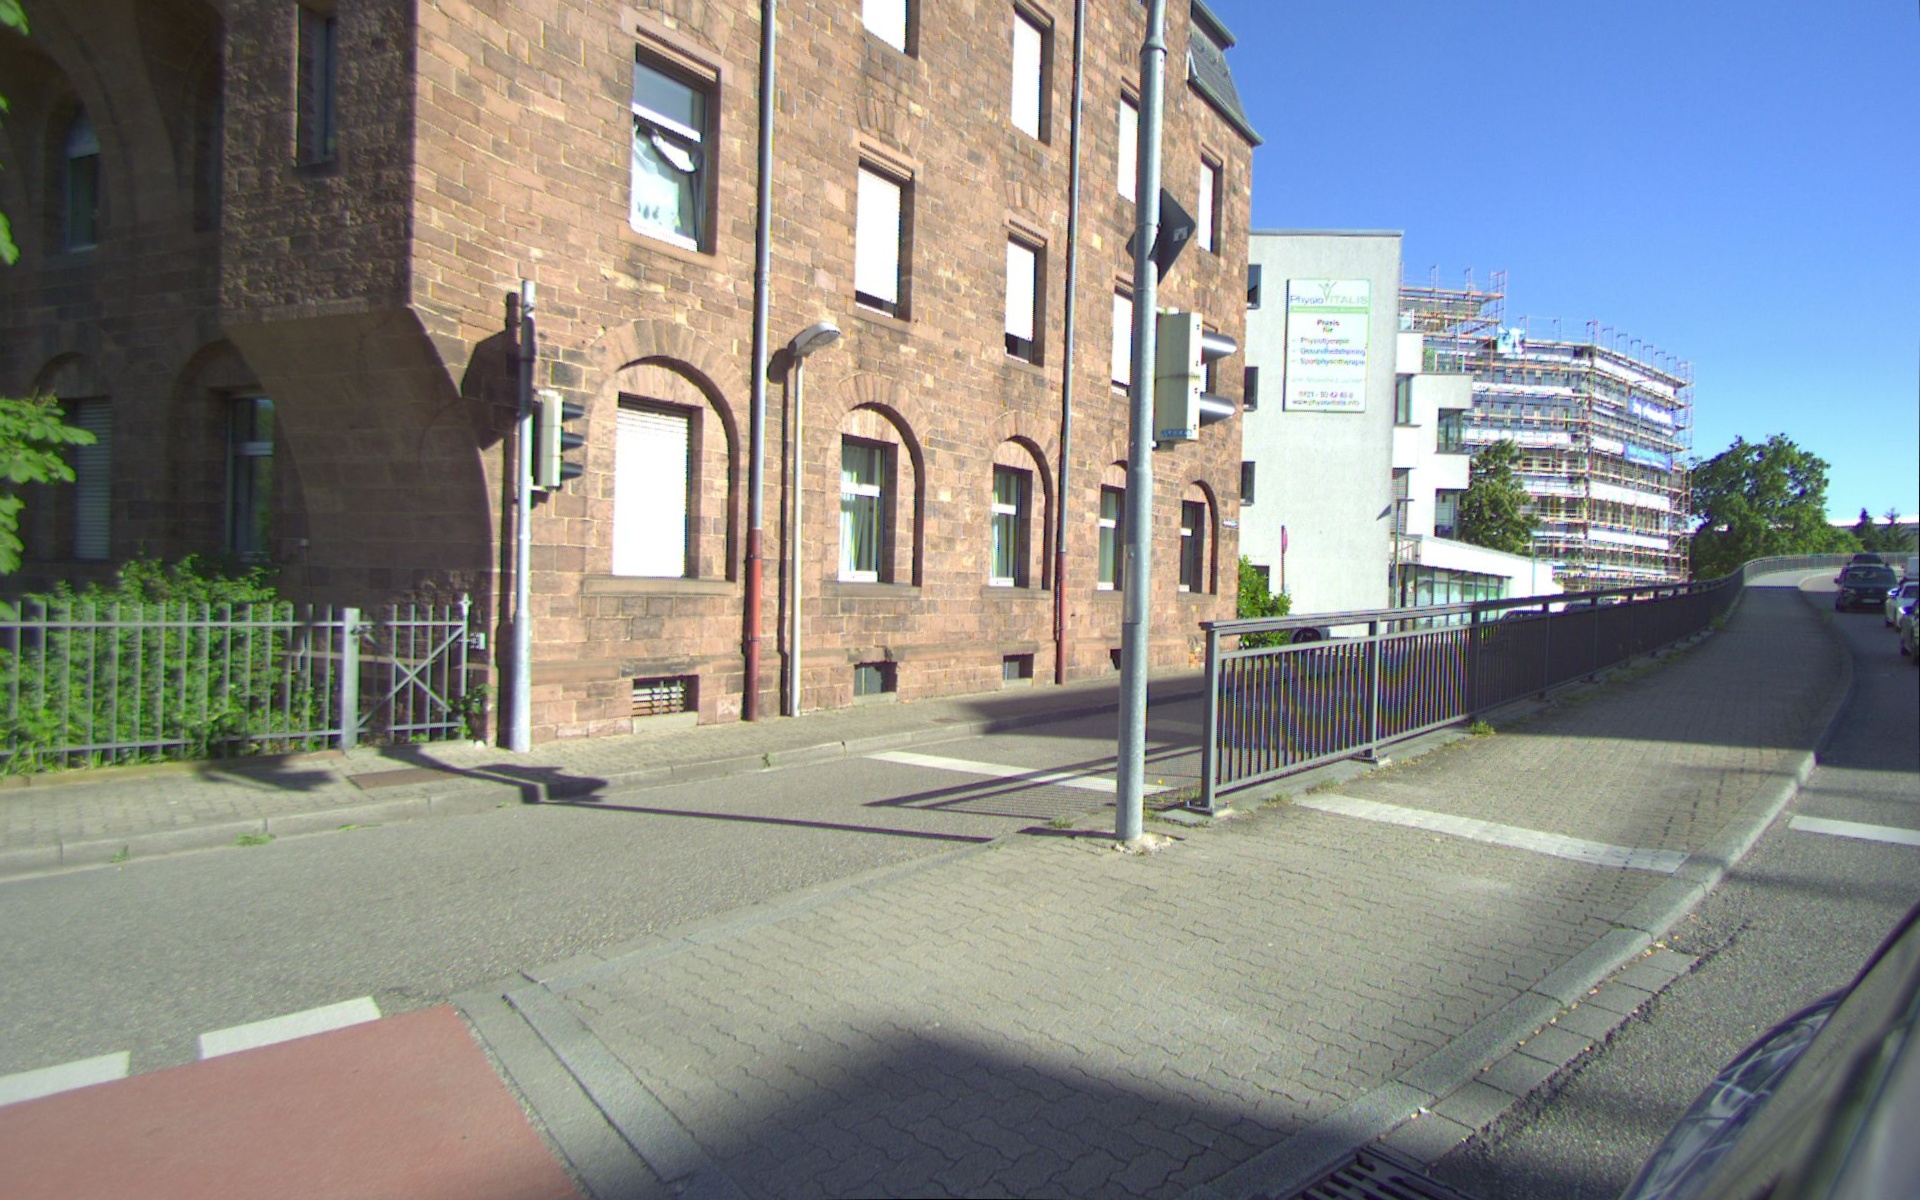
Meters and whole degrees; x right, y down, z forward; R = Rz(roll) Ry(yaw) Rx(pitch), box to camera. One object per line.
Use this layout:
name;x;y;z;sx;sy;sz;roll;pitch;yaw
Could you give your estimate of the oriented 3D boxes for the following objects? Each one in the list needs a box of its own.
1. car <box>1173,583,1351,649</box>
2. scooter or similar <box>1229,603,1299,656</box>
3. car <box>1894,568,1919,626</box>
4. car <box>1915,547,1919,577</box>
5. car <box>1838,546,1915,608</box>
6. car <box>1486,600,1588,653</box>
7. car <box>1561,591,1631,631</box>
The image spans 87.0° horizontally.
car;8.611;0.427;29.128;4.563;1.789;1.828;0;2;2
scooter or similar;7.352;0.705;24.464;1.453;1.235;0.775;-1;-1;36
car;28.333;-0.129;29.037;1.841;1.554;4.447;1;2;38
car;62.361;-2.387;64.664;1.810;1.824;5.042;3;2;42
car;35.629;-0.954;39.451;1.901;2.240;4.537;1;3;38
car;18.691;0.793;32.676;1.844;1.448;4.610;1;2;43
car;27.319;0.451;43.432;1.844;1.554;3.939;3;2;42
